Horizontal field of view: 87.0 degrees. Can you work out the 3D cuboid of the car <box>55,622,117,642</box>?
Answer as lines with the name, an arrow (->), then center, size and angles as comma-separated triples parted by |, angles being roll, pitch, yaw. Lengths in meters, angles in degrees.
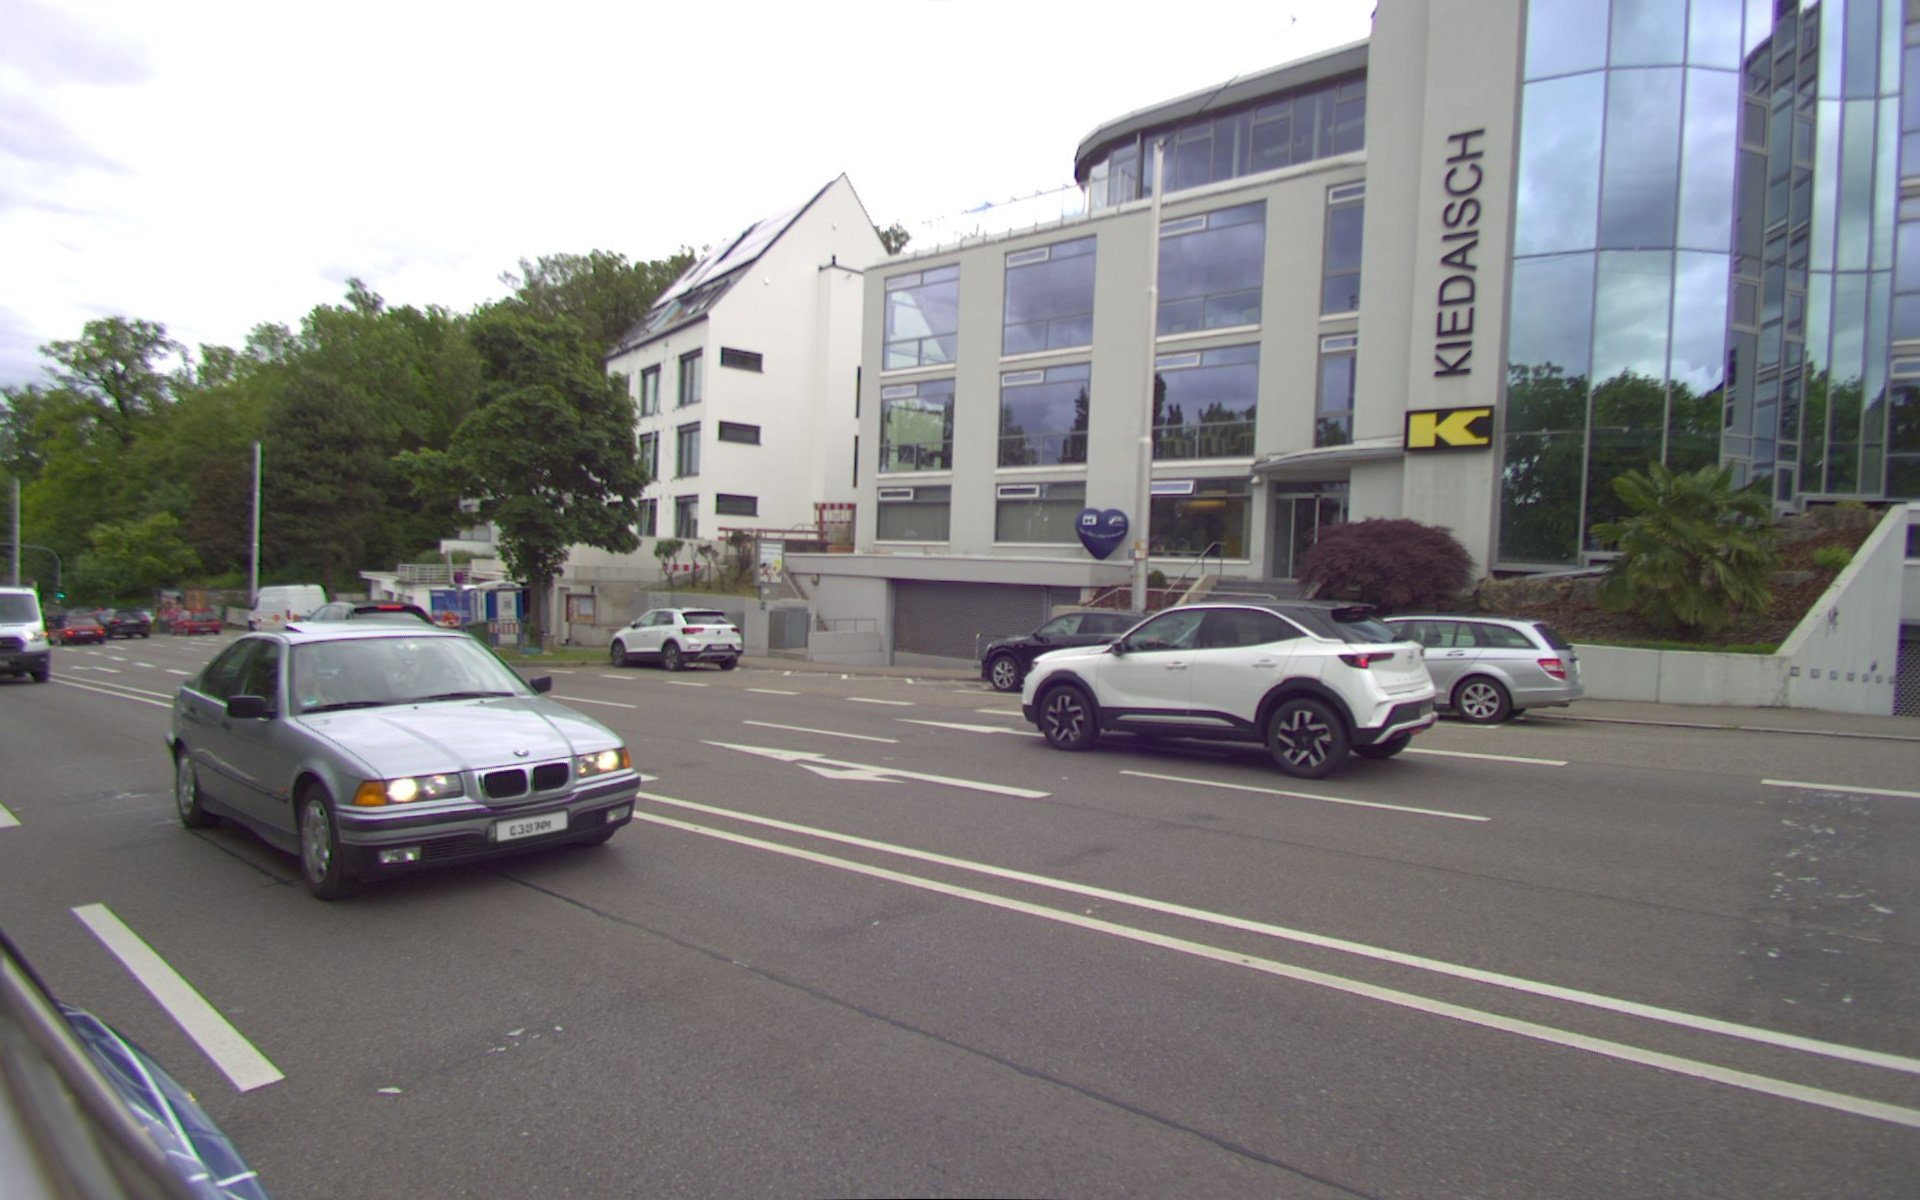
car -> -60.203, 2.197, 69.741 | 3.260, 1.294, 1.562 | -1, -1, 11

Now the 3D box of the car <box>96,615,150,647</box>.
car -> -45.192, 1.664, 54.595 | 4.226, 1.609, 1.756 | -2, -1, 44

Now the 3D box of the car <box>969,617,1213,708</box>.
car -> 2.240, 1.052, 18.012 | 4.088, 1.439, 1.655 | -2, -2, 41

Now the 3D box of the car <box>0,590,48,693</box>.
car -> -22.970, 0.972, 23.385 | 6.263, 2.190, 1.973 | -2, -2, 40

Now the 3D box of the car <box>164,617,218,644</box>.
car -> -43.486, 1.735, 57.210 | 3.289, 1.454, 1.564 | -2, -1, 36

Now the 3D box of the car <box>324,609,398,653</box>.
car -> -26.294, 1.339, 44.367 | 1.786, 1.764, 4.253 | -1, 0, -45

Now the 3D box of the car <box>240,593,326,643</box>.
car -> -37.013, 0.990, 55.241 | 6.526, 2.545, 1.974 | -2, 0, 39

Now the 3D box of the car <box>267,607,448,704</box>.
car -> -12.079, 1.047, 20.163 | 4.763, 1.716, 1.827 | -2, -2, 43

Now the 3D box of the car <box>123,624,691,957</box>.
car -> -3.780, 0.883, 6.470 | 4.616, 1.393, 1.618 | -2, -1, 40

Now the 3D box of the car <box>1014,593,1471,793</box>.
car -> 2.596, 0.770, 9.891 | 3.923, 1.553, 1.780 | -2, -2, 44

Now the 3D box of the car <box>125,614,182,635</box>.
car -> -58.403, 1.786, 73.317 | 1.561, 1.454, 3.295 | -1, -1, 0

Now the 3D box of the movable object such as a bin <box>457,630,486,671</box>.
movable object such as a bin -> -14.084, 1.443, 29.193 | 0.581, 1.146, 0.646 | 0, -1, -43

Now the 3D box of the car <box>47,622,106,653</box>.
car -> -42.320, 1.784, 48.459 | 4.323, 1.392, 1.729 | -2, -1, 44

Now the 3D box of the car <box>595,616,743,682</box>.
car -> -7.427, 1.202, 25.638 | 4.238, 1.515, 1.650 | -2, -2, 43

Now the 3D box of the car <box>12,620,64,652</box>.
car -> -49.779, 1.935, 54.639 | 4.665, 1.609, 1.756 | -2, -1, 44

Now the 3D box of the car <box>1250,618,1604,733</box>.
car -> 6.642, 1.003, 14.624 | 4.409, 1.439, 1.658 | -1, -2, 36
